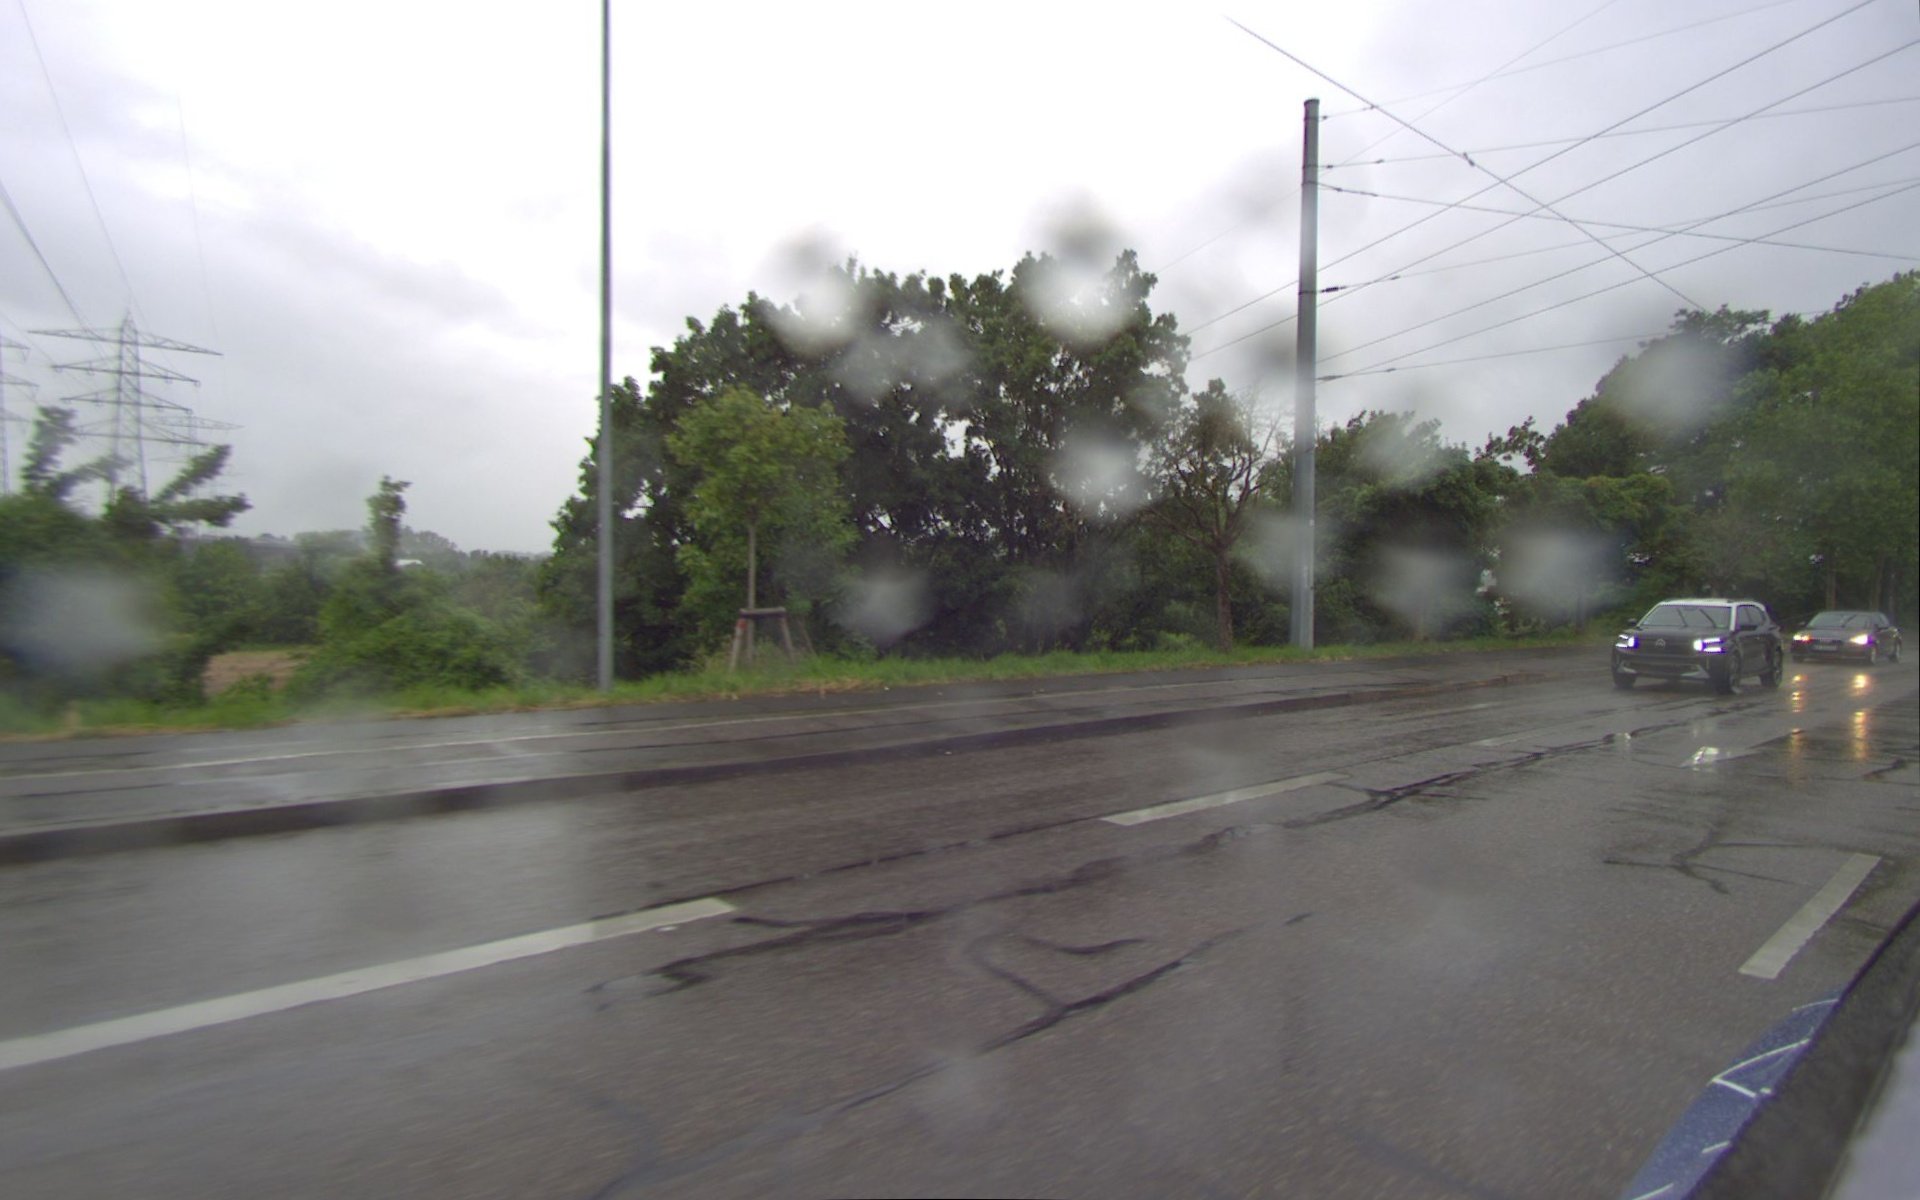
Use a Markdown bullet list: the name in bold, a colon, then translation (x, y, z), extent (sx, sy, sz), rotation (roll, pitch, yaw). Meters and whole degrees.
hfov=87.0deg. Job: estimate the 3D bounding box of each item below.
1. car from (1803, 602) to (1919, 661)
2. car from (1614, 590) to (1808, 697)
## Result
- **car**: translation (24.261, 0.821, 27.172), extent (3.928, 1.445, 1.783), rotation (1, 0, -39)
- **car**: translation (13.844, 0.742, 18.554), extent (4.677, 1.724, 1.796), rotation (1, -1, -39)
